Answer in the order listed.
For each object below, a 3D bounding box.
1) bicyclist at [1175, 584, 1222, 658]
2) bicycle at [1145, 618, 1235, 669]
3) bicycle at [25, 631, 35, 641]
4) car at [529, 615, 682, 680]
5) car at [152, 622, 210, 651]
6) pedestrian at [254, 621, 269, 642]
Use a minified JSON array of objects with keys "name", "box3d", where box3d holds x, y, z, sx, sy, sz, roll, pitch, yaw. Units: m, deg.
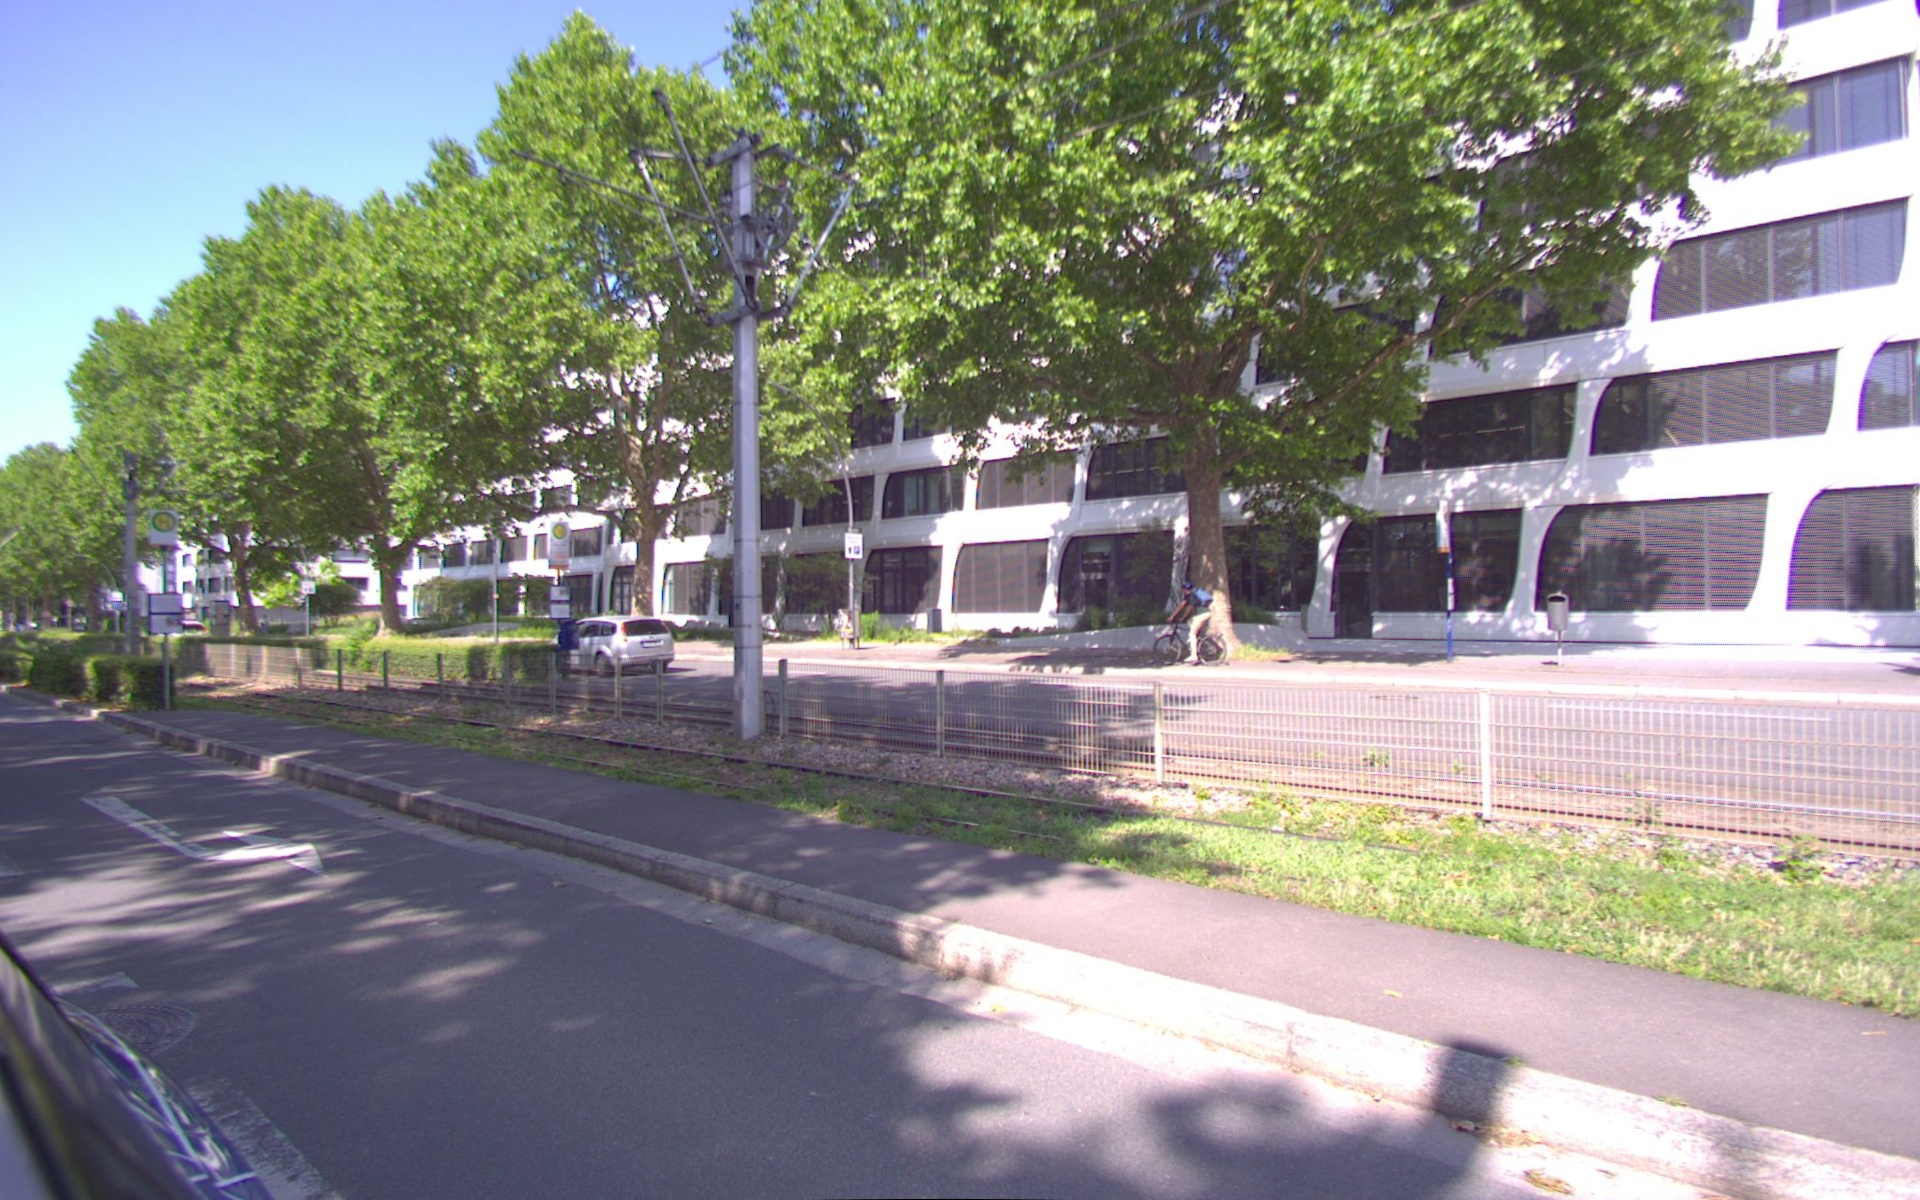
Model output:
[{"name":"bicyclist","box3d":[5.380,0.471,22.875,0.838,1.616,0.568,-2,-1,41]},{"name":"bicycle","box3d":[5.213,0.976,23.023,1.883,1.103,0.660,-2,-1,41]},{"name":"bicycle","box3d":[-110.189,4.305,119.925,2.029,1.133,0.657,-2,-1,41]},{"name":"car","box3d":[-9.147,1.167,25.964,4.383,1.500,1.778,-2,-1,41]},{"name":"car","box3d":[-44.760,2.071,58.128,4.301,1.575,1.792,-2,-1,41]},{"name":"pedestrian","box3d":[-54.437,2.418,78.891,1.014,1.600,0.713,-2,-1,41]}]
